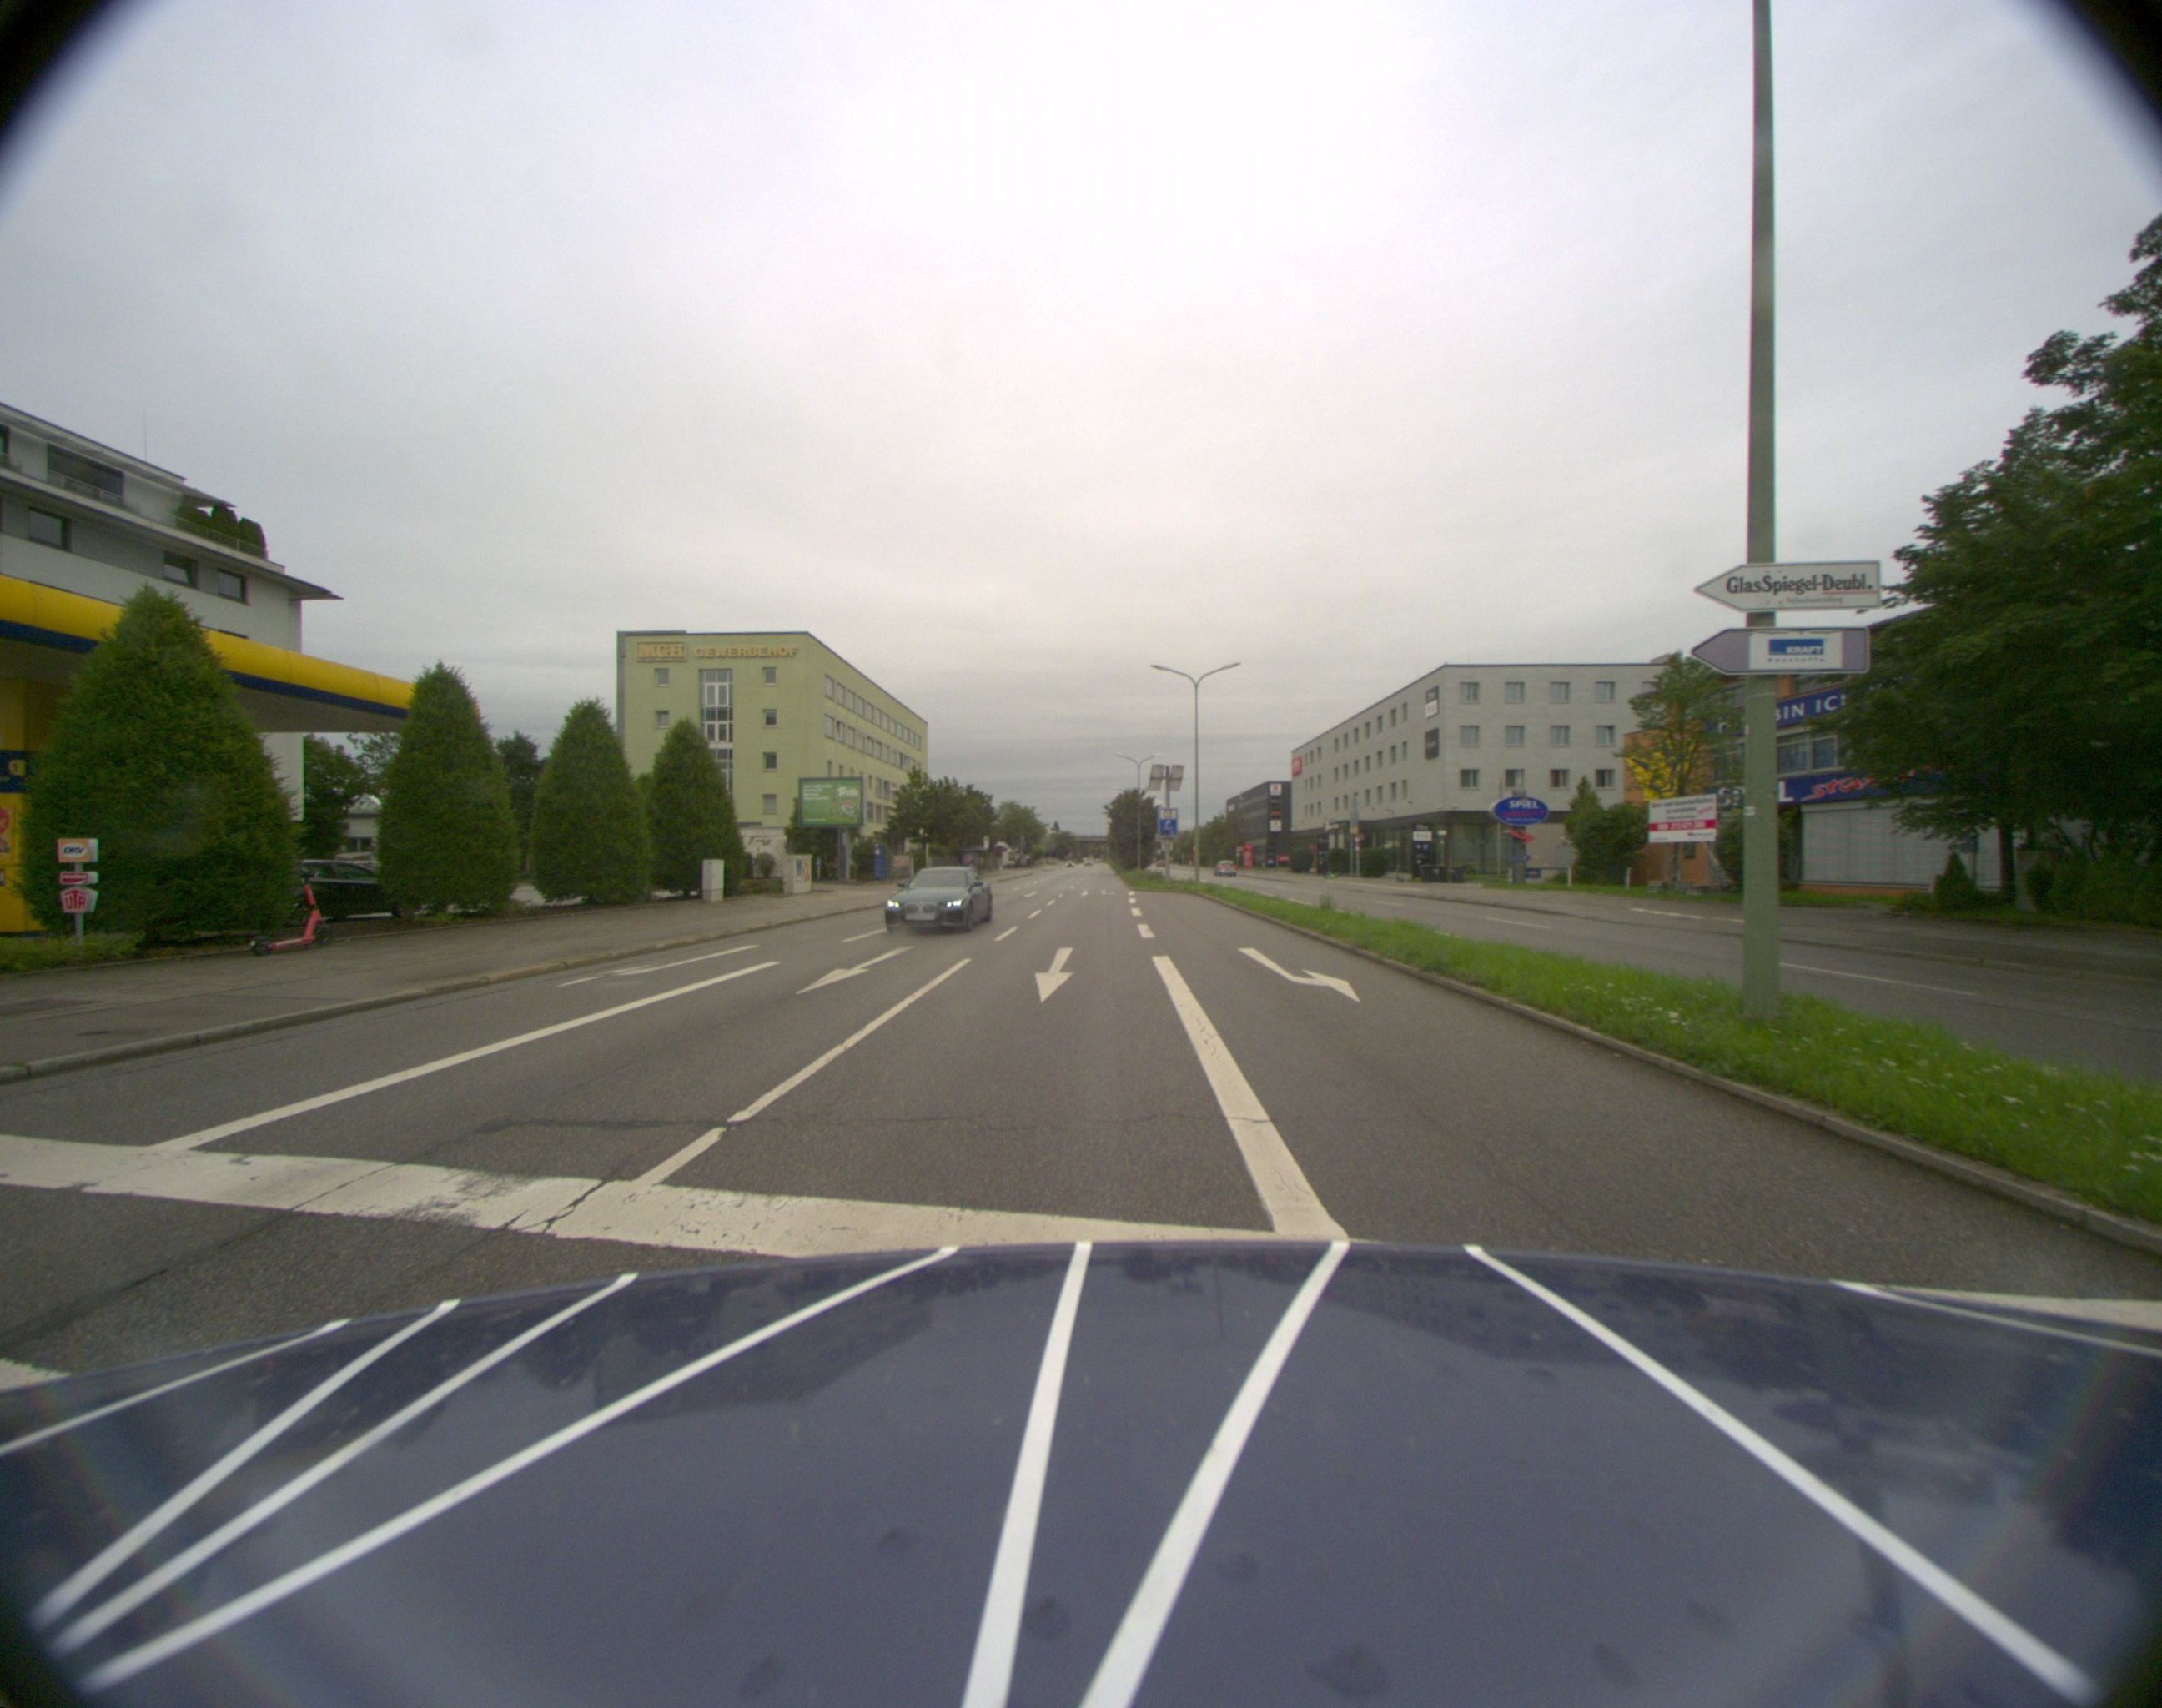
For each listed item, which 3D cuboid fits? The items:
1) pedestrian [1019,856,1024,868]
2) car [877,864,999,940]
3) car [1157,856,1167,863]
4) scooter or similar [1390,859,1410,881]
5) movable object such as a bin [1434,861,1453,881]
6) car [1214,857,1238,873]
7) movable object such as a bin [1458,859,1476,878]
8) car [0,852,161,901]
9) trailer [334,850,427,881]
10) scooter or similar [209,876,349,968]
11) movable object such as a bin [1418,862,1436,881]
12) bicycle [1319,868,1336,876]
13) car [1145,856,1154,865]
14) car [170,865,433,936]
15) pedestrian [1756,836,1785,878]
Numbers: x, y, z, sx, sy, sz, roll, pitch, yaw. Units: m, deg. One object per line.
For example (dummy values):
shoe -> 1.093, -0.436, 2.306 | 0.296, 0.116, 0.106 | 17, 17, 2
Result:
pedestrian -> -8.912, 1.147, 113.586 | 0.683, 1.810, 0.688 | -1, 1, 1
car -> -3.276, 1.045, 18.325 | 1.916, 1.498, 4.440 | -1, 0, 2
car -> 17.620, 1.135, 164.674 | 1.740, 1.539, 4.304 | 1, 0, 1
scooter or similar -> 19.720, 0.961, 46.957 | 0.587, 1.270, 1.404 | -5, 0, 2
movable object such as a bin -> 20.977, 0.982, 43.981 | 0.738, 1.072, 0.655 | -1, 0, 2
car -> 14.803, 1.122, 77.699 | 1.818, 1.548, 4.027 | 1, 0, 3
movable object such as a bin -> 22.393, 0.846, 44.099 | 0.738, 1.072, 0.655 | -1, 0, 2
car -> -34.208, 0.747, 25.740 | 3.997, 1.578, 1.706 | 0, 0, 0
trailer -> -40.157, 0.642, 43.611 | 3.807, 1.640, 1.635 | -1, 0, 0
scooter or similar -> -12.111, 0.985, 11.537 | 0.356, 1.235, 1.546 | 2, 1, 7
movable object such as a bin -> 20.324, 1.047, 44.681 | 0.738, 1.072, 0.655 | -1, 0, 2
bicycle -> 18.740, 1.347, 57.780 | 0.721, 0.545, 1.732 | -4, 0, 1
car -> 14.844, 1.404, 164.847 | 1.816, 2.002, 3.834 | 1, 0, 3
car -> -17.328, 0.967, 17.230 | 1.799, 1.324, 4.000 | -1, 0, 0
pedestrian -> 28.410, 0.125, 31.316 | 0.659, 1.702, 0.663 | -1, 1, 16
